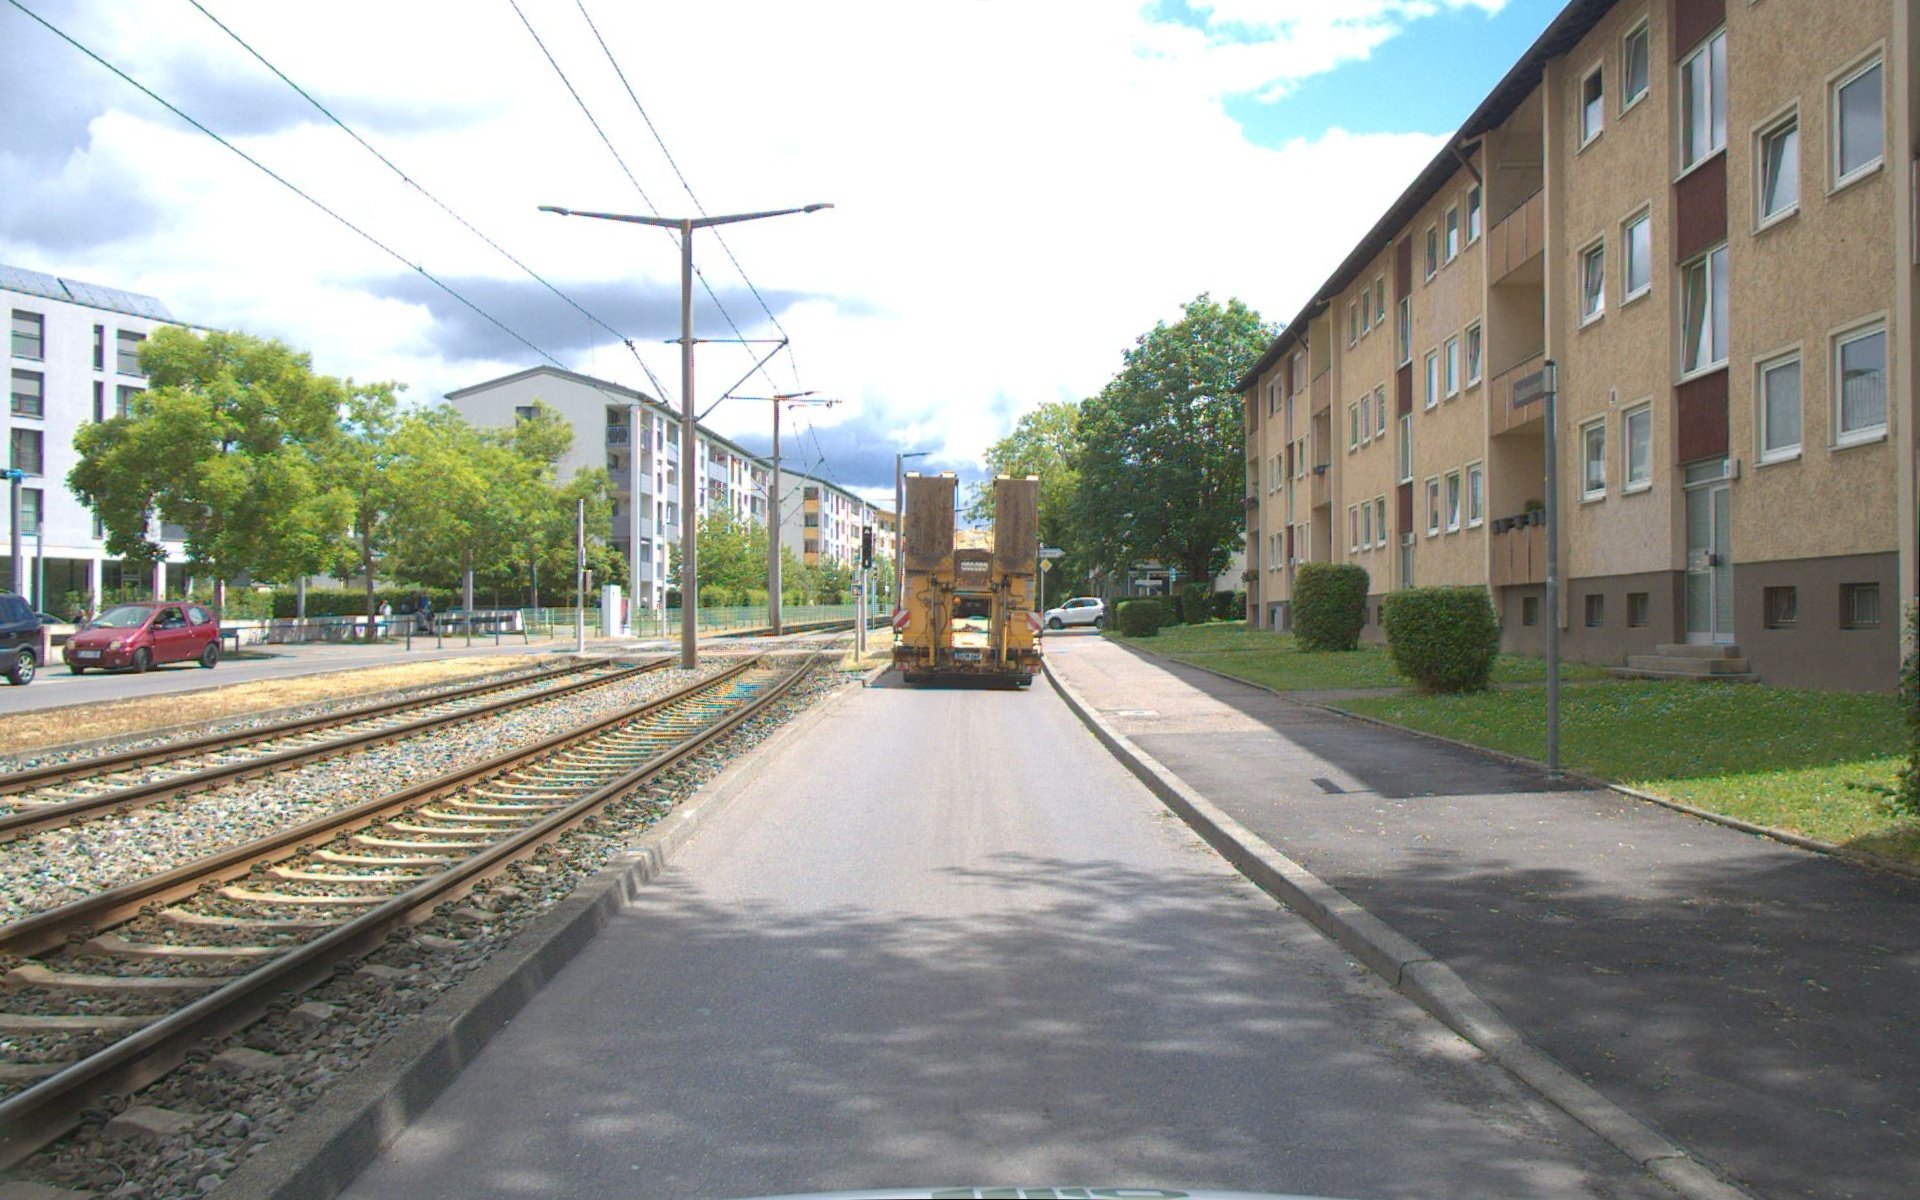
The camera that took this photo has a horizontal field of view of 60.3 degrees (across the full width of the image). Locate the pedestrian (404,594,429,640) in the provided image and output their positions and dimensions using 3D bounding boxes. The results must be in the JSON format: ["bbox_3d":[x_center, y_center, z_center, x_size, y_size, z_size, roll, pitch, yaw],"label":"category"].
[{"bbox_3d":[-19.227,0.615,58.546,0.609,1.600,0.558,-1,0,12],"label":"pedestrian"}]

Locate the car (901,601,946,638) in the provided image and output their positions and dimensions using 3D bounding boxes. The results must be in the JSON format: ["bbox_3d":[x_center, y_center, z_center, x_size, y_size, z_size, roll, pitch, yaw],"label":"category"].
[{"bbox_3d":[-1.768,0.963,80.818,1.764,1.681,4.133,-1,-1,4],"label":"car"}]

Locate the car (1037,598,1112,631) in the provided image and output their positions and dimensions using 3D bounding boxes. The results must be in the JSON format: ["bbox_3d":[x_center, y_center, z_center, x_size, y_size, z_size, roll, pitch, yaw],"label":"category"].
[{"bbox_3d":[5.902,0.756,85.027,3.521,1.612,2.002,-1,-1,13],"label":"car"}]

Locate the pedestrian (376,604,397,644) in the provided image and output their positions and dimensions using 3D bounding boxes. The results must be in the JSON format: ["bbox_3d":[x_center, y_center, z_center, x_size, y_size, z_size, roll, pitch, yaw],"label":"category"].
[{"bbox_3d":[-22.961,0.967,66.262,0.533,1.574,0.528,-1,0,22],"label":"pedestrian"}]

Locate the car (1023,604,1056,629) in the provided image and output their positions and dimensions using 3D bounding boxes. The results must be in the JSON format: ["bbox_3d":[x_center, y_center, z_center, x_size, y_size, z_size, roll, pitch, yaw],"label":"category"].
[{"bbox_3d":[4.997,1.024,104.141,1.952,1.411,4.001,-2,1,1],"label":"car"}]

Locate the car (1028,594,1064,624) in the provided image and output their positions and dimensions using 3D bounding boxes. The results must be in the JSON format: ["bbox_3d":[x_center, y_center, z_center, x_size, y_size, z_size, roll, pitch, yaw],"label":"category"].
[{"bbox_3d":[5.111,0.516,98.901,1.952,1.646,4.001,-2,1,1],"label":"car"}]

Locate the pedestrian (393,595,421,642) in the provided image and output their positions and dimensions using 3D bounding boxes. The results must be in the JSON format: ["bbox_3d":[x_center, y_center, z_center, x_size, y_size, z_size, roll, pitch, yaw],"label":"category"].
[{"bbox_3d":[-19.351,0.633,57.869,0.609,1.600,0.698,-1,0,12],"label":"pedestrian"}]

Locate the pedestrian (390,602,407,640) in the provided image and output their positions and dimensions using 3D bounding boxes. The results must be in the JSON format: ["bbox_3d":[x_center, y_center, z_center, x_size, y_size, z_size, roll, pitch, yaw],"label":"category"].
[{"bbox_3d":[-19.391,0.735,57.110,0.492,1.289,0.497,-2,0,-22],"label":"pedestrian"}]

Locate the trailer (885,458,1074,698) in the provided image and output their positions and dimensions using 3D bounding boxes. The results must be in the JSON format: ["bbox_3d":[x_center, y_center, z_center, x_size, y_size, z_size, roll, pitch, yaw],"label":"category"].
[{"bbox_3d":[0.230,-0.425,32.757,2.989,3.838,11.610,-2,1,-1],"label":"trailer"}]

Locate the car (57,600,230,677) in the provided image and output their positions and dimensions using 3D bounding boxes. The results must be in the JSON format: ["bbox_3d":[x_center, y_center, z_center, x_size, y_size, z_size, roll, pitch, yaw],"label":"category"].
[{"bbox_3d":[-17.084,0.781,34.774,1.579,1.451,3.426,-1,1,8],"label":"car"}]

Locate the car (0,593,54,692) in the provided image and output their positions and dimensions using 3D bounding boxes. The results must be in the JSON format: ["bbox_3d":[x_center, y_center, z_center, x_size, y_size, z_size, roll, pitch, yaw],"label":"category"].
[{"bbox_3d":[-17.455,0.766,27.795,1.952,1.676,4.102,-2,1,4],"label":"car"}]

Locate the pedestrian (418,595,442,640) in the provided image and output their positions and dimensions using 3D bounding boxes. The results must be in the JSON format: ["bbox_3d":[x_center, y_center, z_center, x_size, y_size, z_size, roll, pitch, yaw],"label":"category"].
[{"bbox_3d":[-19.062,0.628,59.514,0.609,1.600,0.558,-1,0,7],"label":"pedestrian"}]

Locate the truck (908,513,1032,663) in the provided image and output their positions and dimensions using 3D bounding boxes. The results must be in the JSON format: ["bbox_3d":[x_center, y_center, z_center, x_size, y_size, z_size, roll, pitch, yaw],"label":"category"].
[{"bbox_3d":[0.183,-0.326,42.100,2.776,3.388,7.983,-2,1,-1],"label":"truck"}]
